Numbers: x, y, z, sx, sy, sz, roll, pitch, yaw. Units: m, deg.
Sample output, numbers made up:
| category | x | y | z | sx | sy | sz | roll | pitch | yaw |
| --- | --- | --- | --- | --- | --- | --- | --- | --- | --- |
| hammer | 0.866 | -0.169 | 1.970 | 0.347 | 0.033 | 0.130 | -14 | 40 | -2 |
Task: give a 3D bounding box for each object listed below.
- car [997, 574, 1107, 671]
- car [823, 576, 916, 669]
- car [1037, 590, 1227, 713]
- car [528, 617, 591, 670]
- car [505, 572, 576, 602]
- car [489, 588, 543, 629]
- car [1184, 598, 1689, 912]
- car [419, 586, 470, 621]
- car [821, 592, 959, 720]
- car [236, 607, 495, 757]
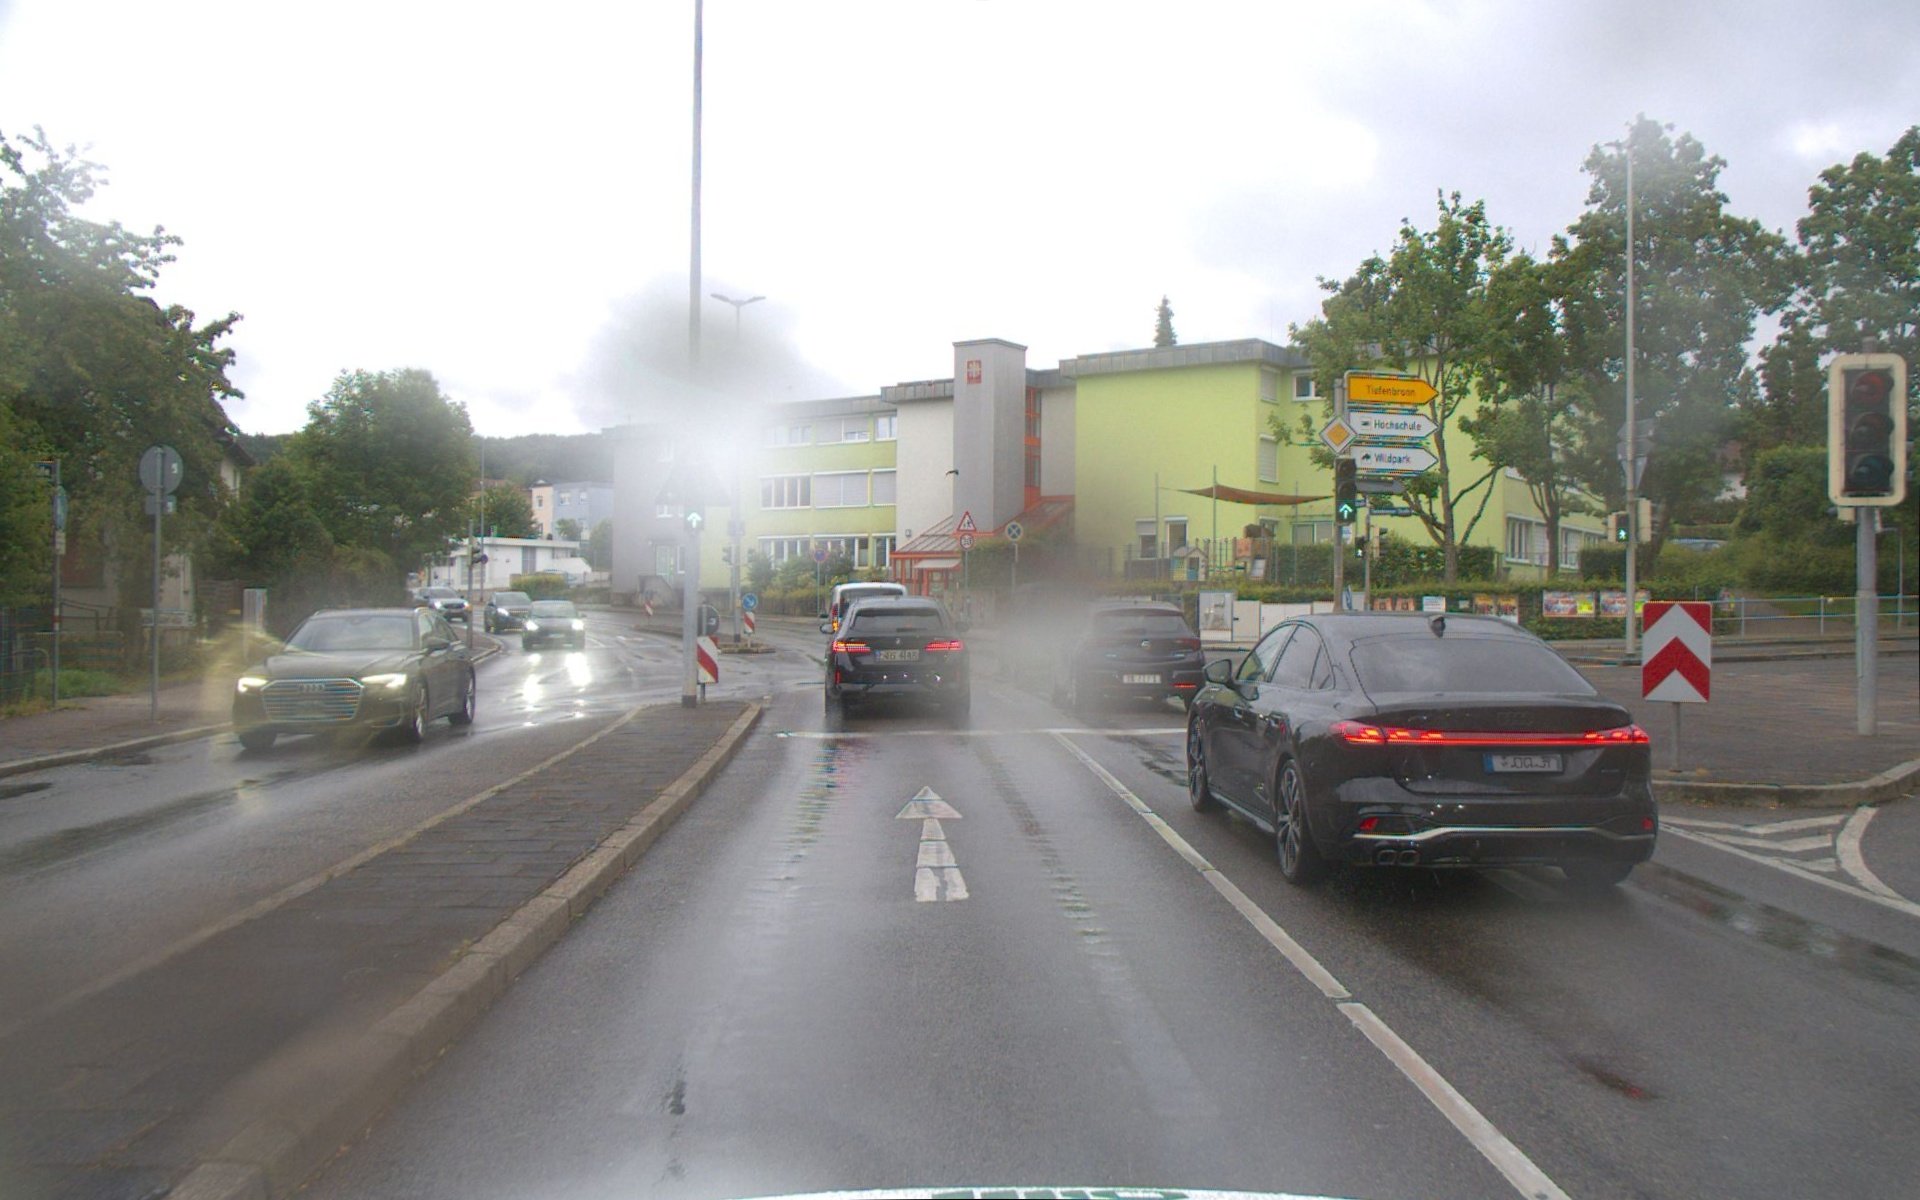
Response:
| category | x | y | z | sx | sy | sz | roll | pitch | yaw |
| --- | --- | --- | --- | --- | --- | --- | --- | --- | --- |
| car | 1.750 | 0.392 | 32.600 | 1.747 | 1.764 | 4.084 | -1 | 1 | -3 |
| car | -2.042 | 0.458 | 36.413 | 1.684 | 1.876 | 4.080 | 2 | 0 | -7 |
| car | 2.275 | 0.634 | 22.888 | 1.814 | 1.512 | 4.082 | -1 | 0 | -6 |
| car | -12.544 | 1.336 | 51.954 | 1.761 | 1.515 | 4.141 | -2 | 0 | -12 |
| car | -27.473 | -0.843 | 108.229 | 4.328 | 1.803 | 1.989 | -2 | 0 | -19 |
| car | -18.272 | 0.329 | 67.920 | 1.822 | 1.592 | 3.977 | -1 | 0 | -20 |
| car | 2.564 | 0.728 | 10.080 | 1.672 | 1.452 | 4.507 | 0 | 0 | -2 |
| car | -25.103 | 0.171 | 80.441 | 1.603 | 1.609 | 3.736 | -2 | 0 | -29 |
| car | -1.005 | 0.668 | 21.995 | 1.650 | 1.532 | 3.769 | -1 | 0 | -5 |
| car | -6.663 | 0.841 | 19.050 | 1.704 | 1.462 | 4.551 | -1 | 0 | -6 |
